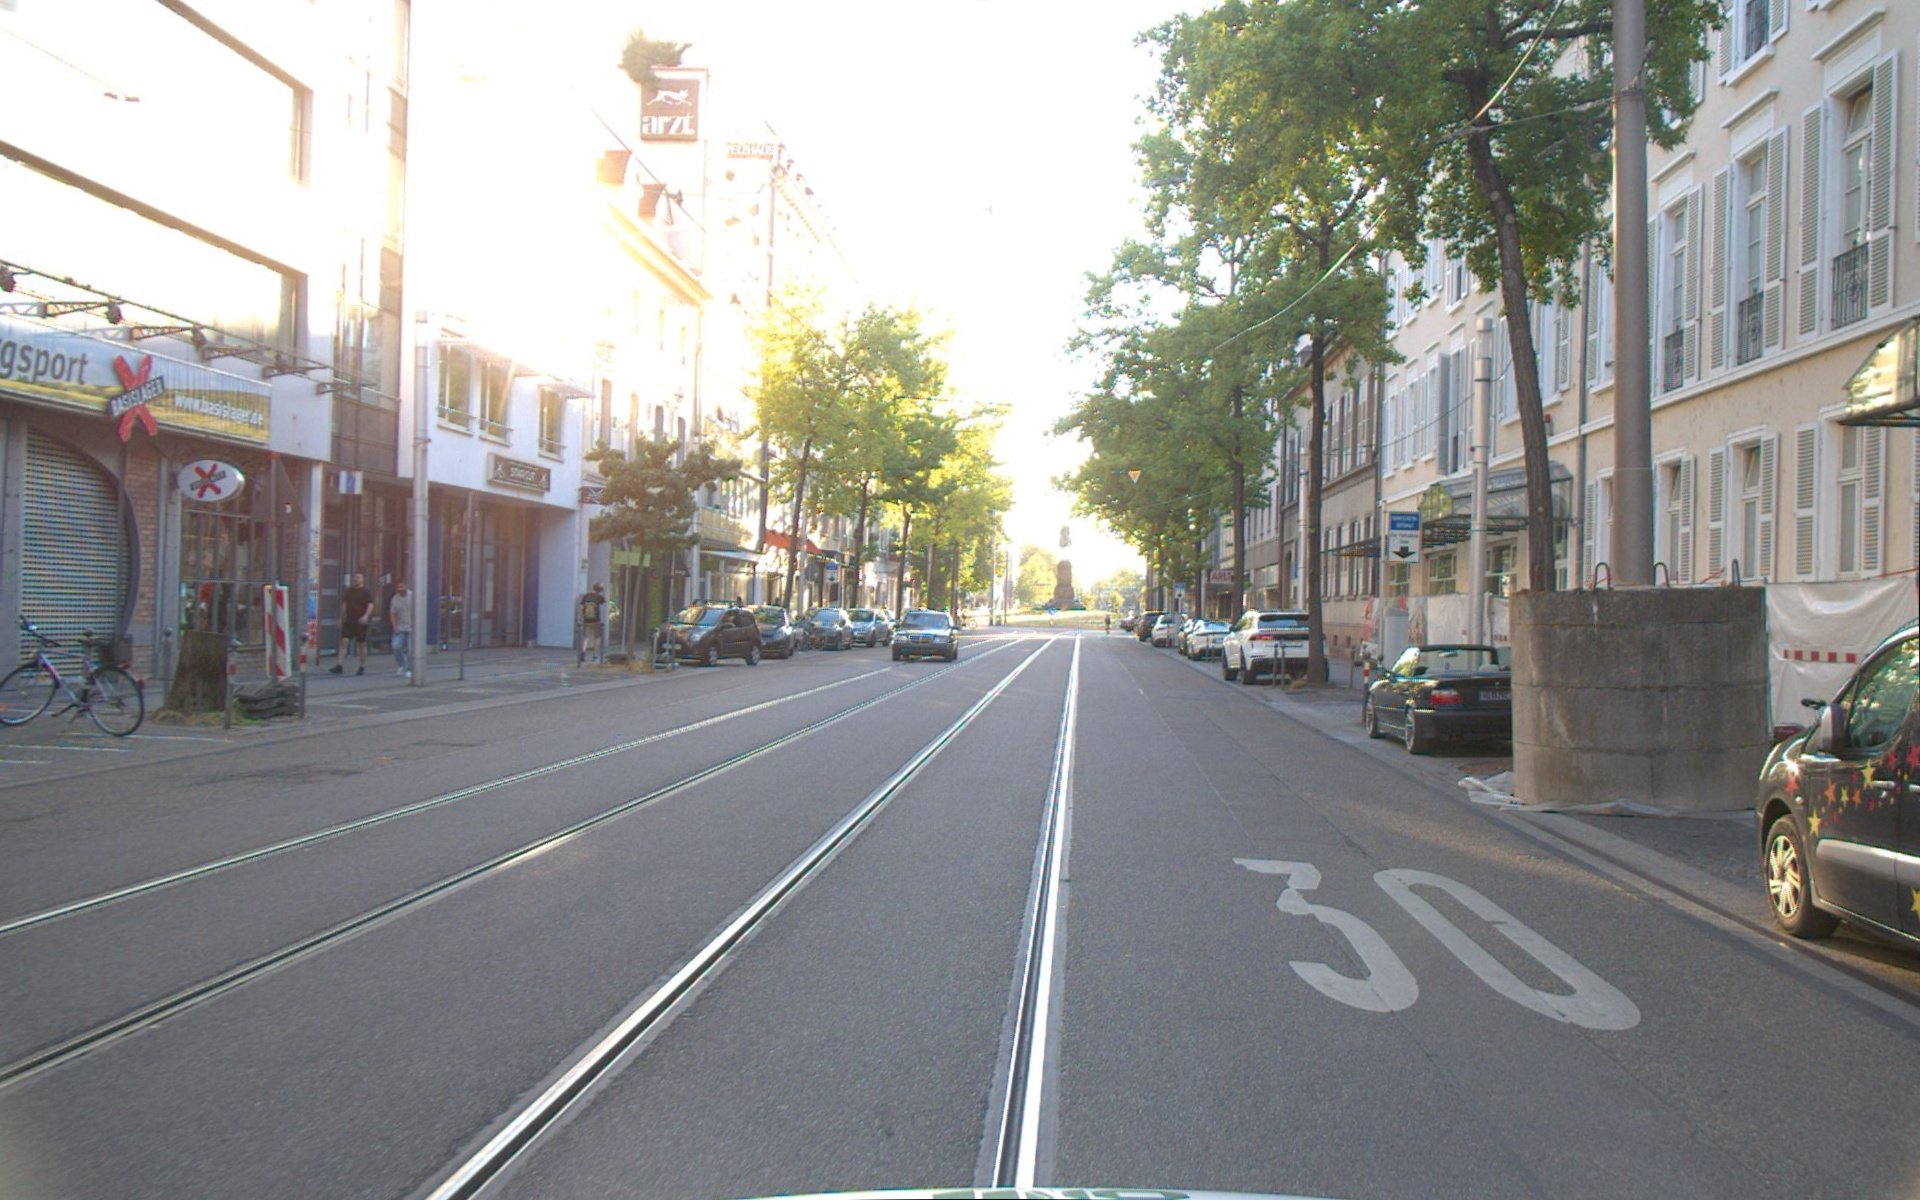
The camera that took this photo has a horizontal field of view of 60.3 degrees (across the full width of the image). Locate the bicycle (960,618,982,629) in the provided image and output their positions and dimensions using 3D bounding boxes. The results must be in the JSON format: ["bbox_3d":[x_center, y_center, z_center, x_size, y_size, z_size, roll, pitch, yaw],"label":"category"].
[{"bbox_3d":[0.883,1.924,134.046,1.695,0.880,0.367,1,0,5],"label":"bicycle"}]

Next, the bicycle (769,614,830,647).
[{"bbox_3d":[-5.270,0.987,54.264,1.929,1.019,0.331,1,0,7],"label":"bicycle"}]

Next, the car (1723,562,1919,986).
[{"bbox_3d":[5.116,0.740,7.352,1.910,1.824,4.319,-1,0,8],"label":"car"}]

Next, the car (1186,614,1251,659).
[{"bbox_3d":[8.911,1.232,57.348,1.872,1.445,4.890,-1,0,5],"label":"car"}]

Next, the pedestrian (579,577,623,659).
[{"bbox_3d":[-8.386,0.413,38.675,0.646,1.857,0.879,4,0,5],"label":"pedestrian"}]

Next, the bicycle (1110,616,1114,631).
[{"bbox_3d":[10.748,1.668,116.818,0.258,1.000,1.339,1,0,4],"label":"bicycle"}]

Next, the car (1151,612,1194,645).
[{"bbox_3d":[10.709,1.436,83.493,1.951,1.524,4.682,-2,0,5],"label":"car"}]

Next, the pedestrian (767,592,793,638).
[{"bbox_3d":[-6.764,0.557,62.038,0.826,1.723,0.741,1,0,4],"label":"pedestrian"}]

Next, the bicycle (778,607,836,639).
[{"bbox_3d":[-5.220,0.786,56.350,1.929,1.019,0.331,1,0,6],"label":"bicycle"}]

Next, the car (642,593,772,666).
[{"bbox_3d":[-6.239,0.714,41.203,1.596,1.644,3.709,3,0,19],"label":"car"}]

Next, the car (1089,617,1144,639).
[{"bbox_3d":[13.493,2.398,142.434,4.575,1.713,2.001,1,0,7],"label":"car"}]

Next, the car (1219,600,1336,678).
[{"bbox_3d":[7.522,0.908,39.662,1.956,1.717,4.968,-1,-1,1],"label":"car"}]

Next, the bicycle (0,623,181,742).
[{"bbox_3d":[-8.741,0.810,16.560,1.708,1.009,0.479,5,1,12],"label":"bicycle"}]

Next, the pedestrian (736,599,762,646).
[{"bbox_3d":[-7.870,0.824,61.830,0.772,1.723,0.914,1,0,4],"label":"pedestrian"}]

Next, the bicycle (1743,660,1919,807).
[{"bbox_3d":[7.522,1.095,14.063,0.642,1.089,1.668,-1,0,-14],"label":"bicycle"}]

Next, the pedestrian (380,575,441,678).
[{"bbox_3d":[-9.542,0.453,28.739,0.628,1.742,0.830,3,0,8],"label":"pedestrian"}]

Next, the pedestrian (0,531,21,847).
[{"bbox_3d":[-5.955,0.496,9.591,0.841,1.797,0.823,1,0,-30],"label":"pedestrian"}]

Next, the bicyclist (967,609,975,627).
[{"bbox_3d":[0.887,1.464,134.013,0.525,1.463,0.367,1,0,5],"label":"bicyclist"}]

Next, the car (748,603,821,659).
[{"bbox_3d":[-5.197,0.895,49.418,1.756,1.516,4.241,3,0,-2],"label":"car"}]

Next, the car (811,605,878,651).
[{"bbox_3d":[-4.112,0.983,59.469,1.675,1.486,4.488,3,0,5],"label":"car"}]

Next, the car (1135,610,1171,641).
[{"bbox_3d":[11.801,1.519,101.322,1.897,1.790,4.682,-2,0,4],"label":"car"}]

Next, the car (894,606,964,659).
[{"bbox_3d":[-0.862,0.915,48.082,1.742,1.432,4.529,1,0,2],"label":"car"}]

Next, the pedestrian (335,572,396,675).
[{"bbox_3d":[-10.301,0.405,28.666,0.614,1.742,0.808,3,0,8],"label":"pedestrian"}]

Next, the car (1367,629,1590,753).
[{"bbox_3d":[6.380,1.065,20.833,1.756,1.334,4.332,-1,0,5],"label":"car"}]

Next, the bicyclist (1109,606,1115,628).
[{"bbox_3d":[10.745,1.207,116.824,0.419,1.507,0.466,1,0,5],"label":"bicyclist"}]

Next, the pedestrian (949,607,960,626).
[{"bbox_3d":[-0.429,1.198,119.268,0.713,1.313,0.857,2,0,2],"label":"pedestrian"}]

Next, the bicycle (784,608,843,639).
[{"bbox_3d":[-4.956,0.793,55.942,1.929,1.019,0.331,1,0,7],"label":"bicycle"}]

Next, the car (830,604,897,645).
[{"bbox_3d":[-3.774,0.974,65.477,1.729,1.523,4.178,2,-1,9],"label":"car"}]
